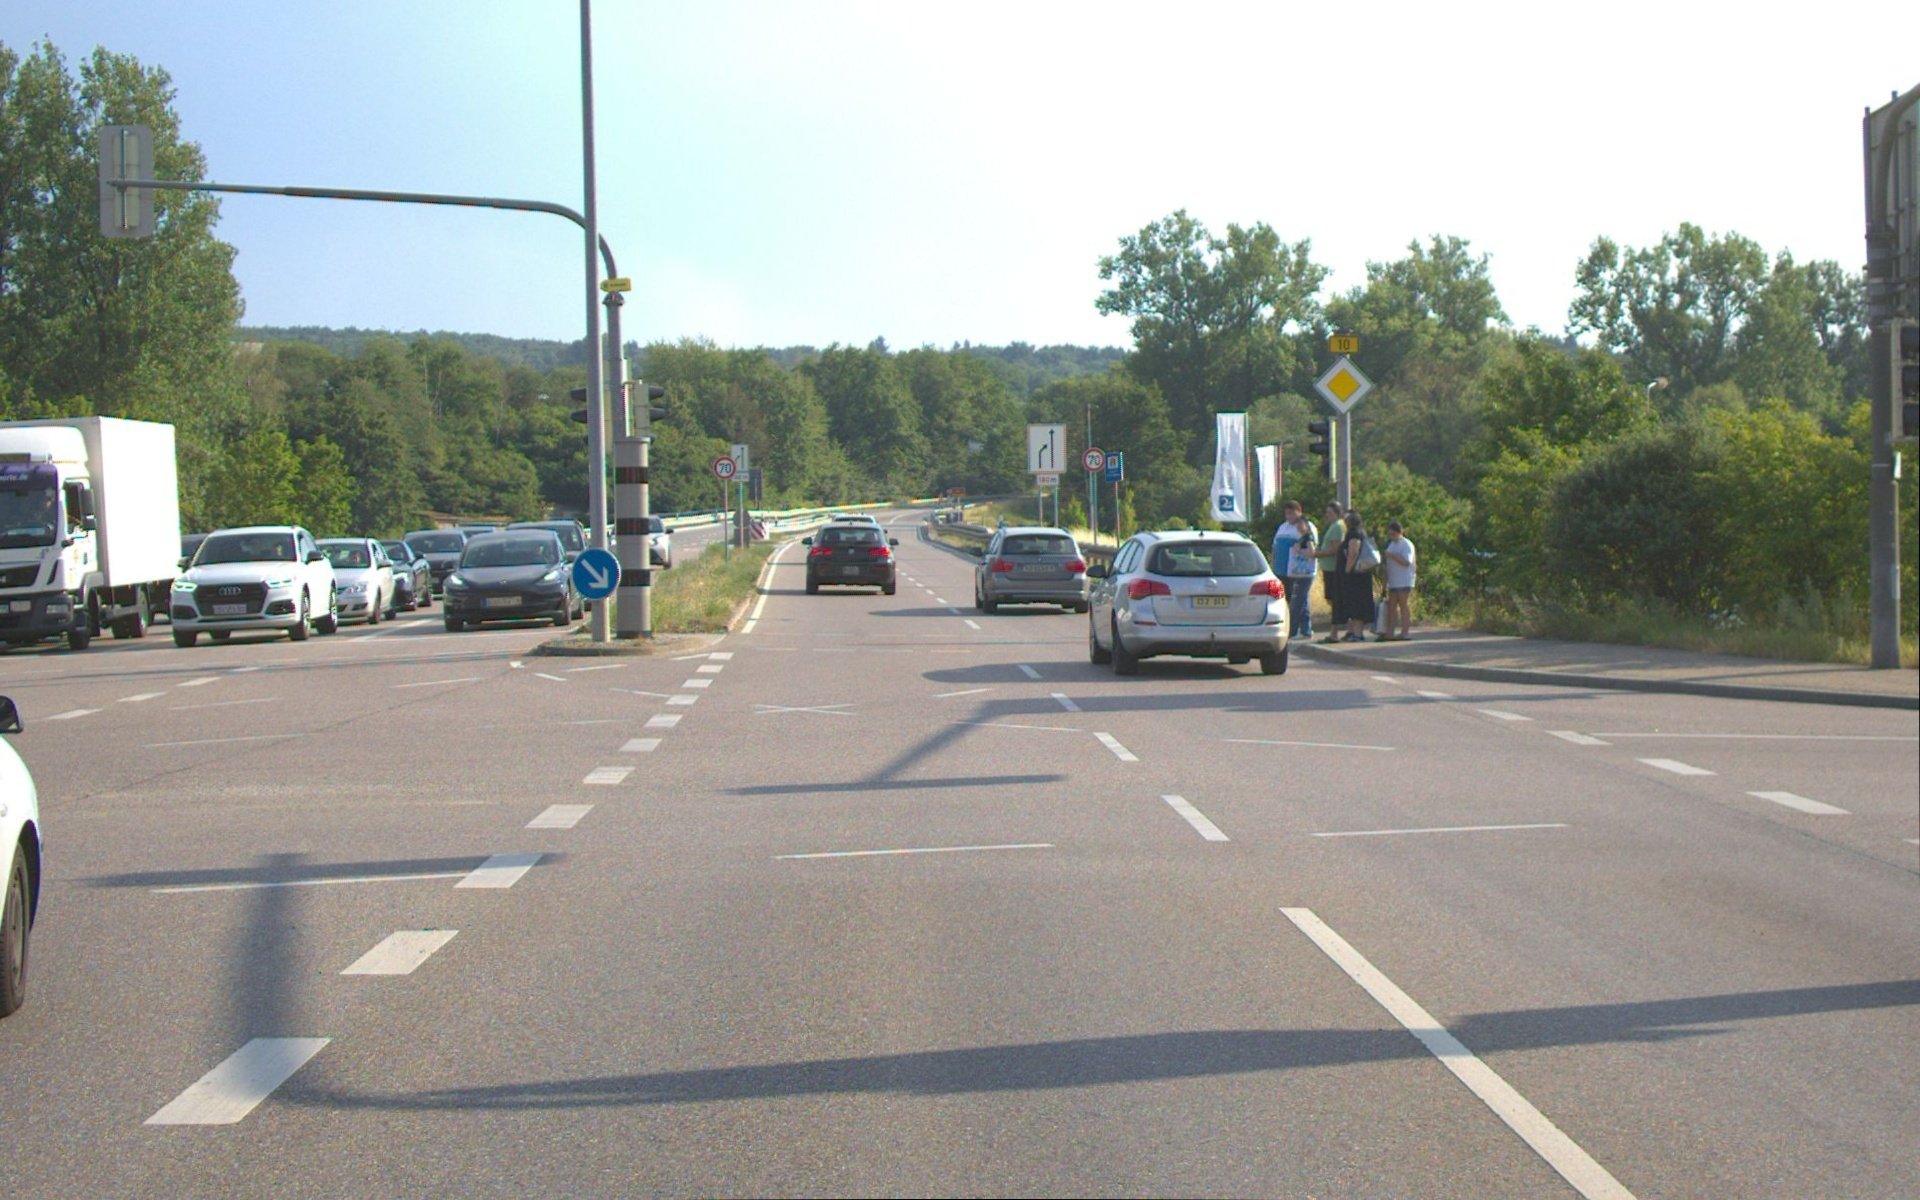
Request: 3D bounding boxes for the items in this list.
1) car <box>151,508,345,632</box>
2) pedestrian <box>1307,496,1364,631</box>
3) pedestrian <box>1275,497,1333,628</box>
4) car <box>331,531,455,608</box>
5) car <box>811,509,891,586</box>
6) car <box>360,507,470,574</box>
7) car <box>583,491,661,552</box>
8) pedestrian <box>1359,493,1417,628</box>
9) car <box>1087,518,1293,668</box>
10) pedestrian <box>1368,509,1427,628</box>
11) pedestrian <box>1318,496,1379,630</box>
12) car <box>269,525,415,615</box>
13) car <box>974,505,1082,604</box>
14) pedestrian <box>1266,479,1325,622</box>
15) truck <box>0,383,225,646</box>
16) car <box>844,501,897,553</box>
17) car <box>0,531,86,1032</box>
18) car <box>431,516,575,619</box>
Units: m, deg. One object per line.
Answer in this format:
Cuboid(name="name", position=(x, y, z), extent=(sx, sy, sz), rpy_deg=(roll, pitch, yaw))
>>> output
Cuboid(name="car", position=(-10.347, -0.447, 50.308), extent=(1.993, 1.672, 4.807), rpy_deg=(-2, 1, -2))
Cuboid(name="pedestrian", position=(4.707, -0.462, 43.103), extent=(0.571, 1.672, 0.623), rpy_deg=(1, 1, -6))
Cuboid(name="pedestrian", position=(4.497, -0.492, 44.946), extent=(0.594, 1.677, 0.633), rpy_deg=(-3, 1, -2))
Cuboid(name="car", position=(-10.603, -0.603, 64.542), extent=(1.702, 1.279, 4.819), rpy_deg=(-2, 2, -3))
Cuboid(name="car", position=(-2.147, -1.036, 68.392), extent=(1.492, 1.471, 3.359), rpy_deg=(1, 1, -1))
Cuboid(name="car", position=(-11.436, -1.250, 72.364), extent=(1.780, 1.349, 4.000), rpy_deg=(1, 1, -2))
Cuboid(name="car", position=(-9.012, -2.080, 91.960), extent=(1.780, 1.515, 4.000), rpy_deg=(-2, 1, -2))
Cuboid(name="pedestrian", position=(5.371, -0.494, 43.178), extent=(0.571, 1.672, 0.623), rpy_deg=(1, 1, -6))
Cuboid(name="car", position=(2.384, -0.095, 36.468), extent=(1.809, 1.481, 4.000), rpy_deg=(1, 1, -1))
Cuboid(name="pedestrian", position=(5.392, -0.394, 42.434), extent=(0.571, 1.452, 0.623), rpy_deg=(1, 1, -6))
Cuboid(name="pedestrian", position=(4.782, -0.456, 42.334), extent=(0.572, 1.609, 0.623), rpy_deg=(-2, 1, -6))
Cuboid(name="car", position=(-10.317, -0.512, 57.669), extent=(1.702, 1.400, 5.082), rpy_deg=(-2, 1, -2))
Cuboid(name="car", position=(1.107, -0.756, 57.759), extent=(1.667, 1.568, 4.000), rpy_deg=(1, 1, -1))
Cuboid(name="pedestrian", position=(4.457, -0.657, 45.722), extent=(0.618, 1.876, 0.861), rpy_deg=(-2, 1, -3))
Cuboid(name="truck", position=(-14.159, -1.230, 54.021), extent=(2.933, 3.677, 10.500), rpy_deg=(-3, 1, -1))
Cuboid(name="car", position=(-2.614, -2.133, 100.646), extent=(1.492, 1.471, 3.359), rpy_deg=(1, 1, -1))
Cuboid(name="car", position=(-3.670, 0.555, 9.544), extent=(1.687, 1.495, 3.893), rpy_deg=(-1, 1, -3))
Cuboid(name="car", position=(-6.877, -0.505, 52.165), extent=(1.790, 1.461, 4.930), rpy_deg=(-1, 1, -3))
